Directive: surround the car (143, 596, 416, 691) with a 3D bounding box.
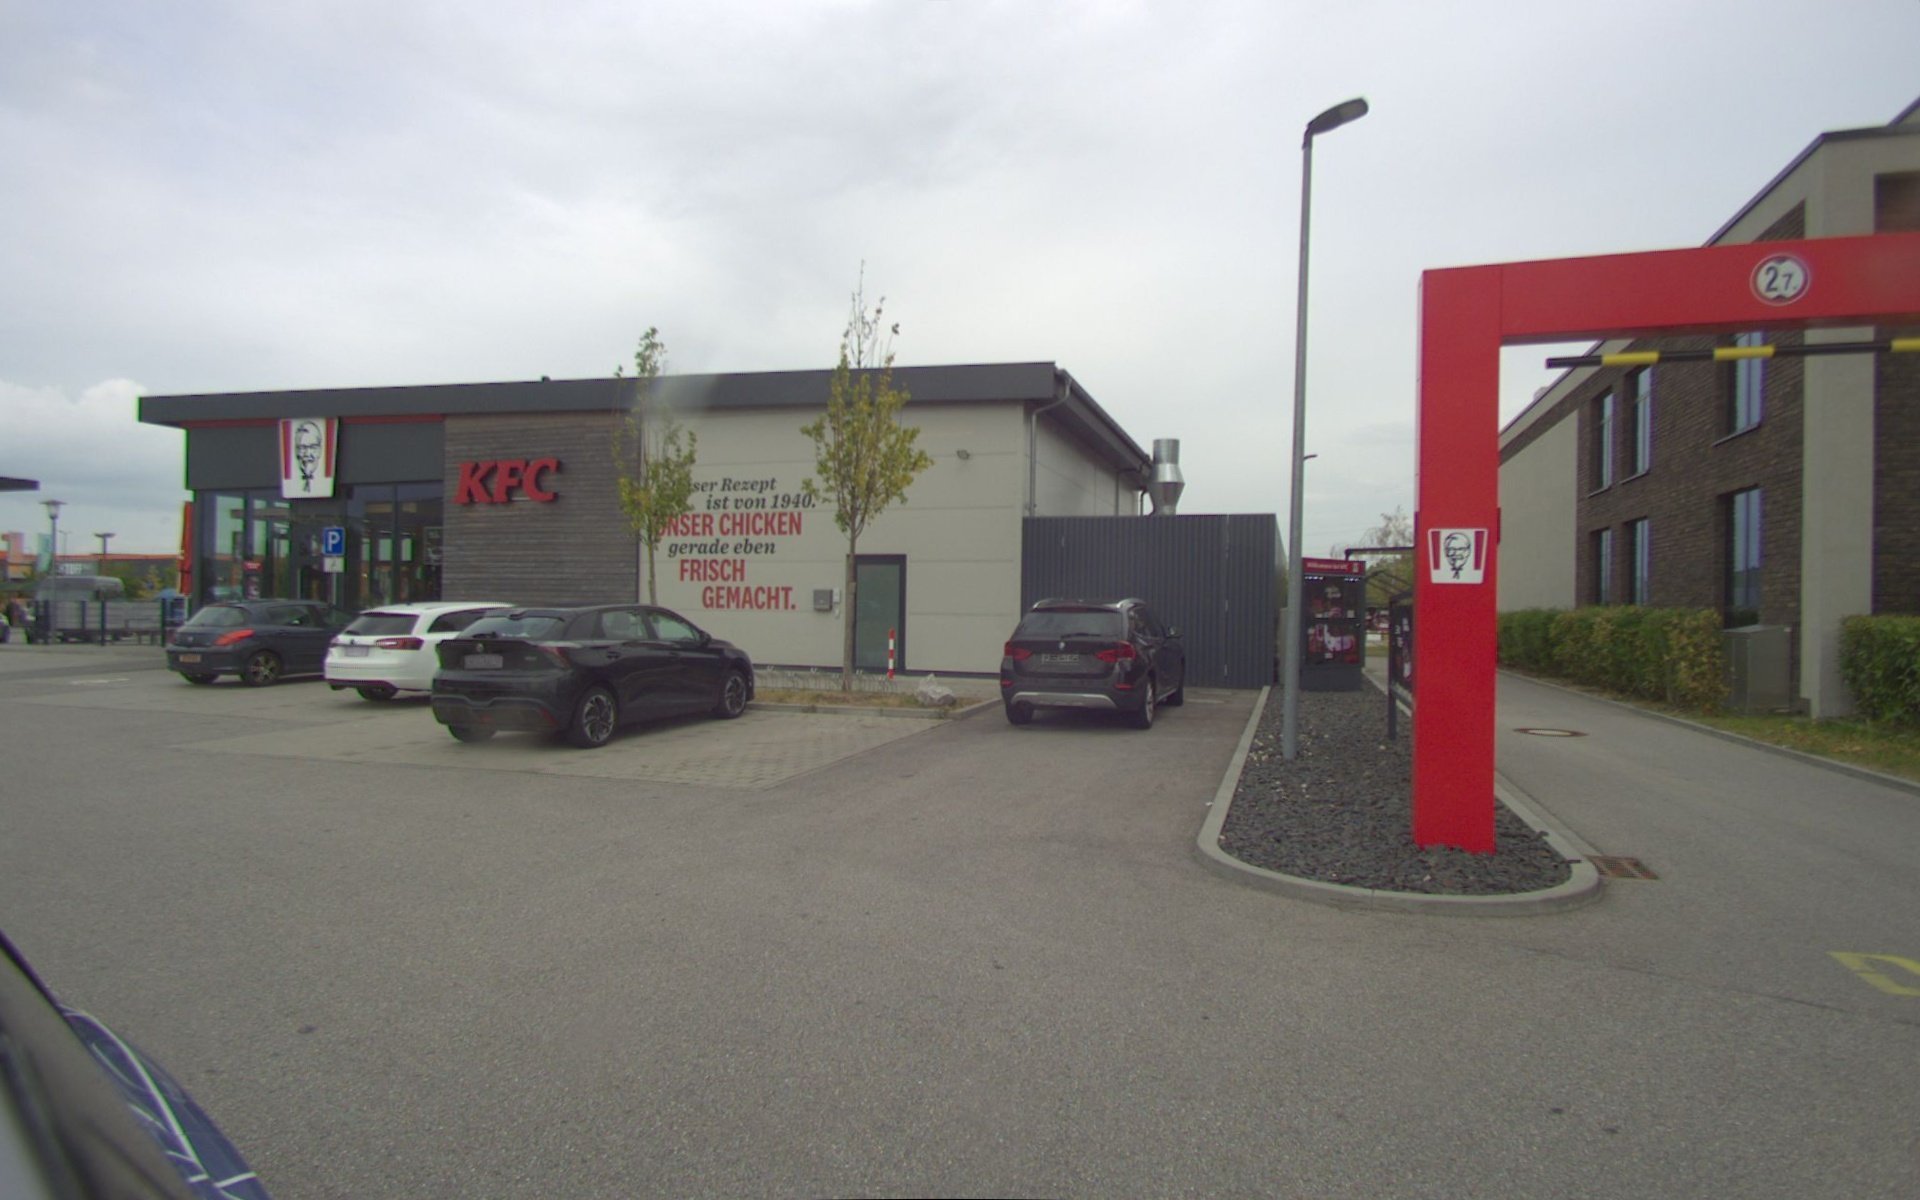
[{"bbox_3d":[-12.352,0.710,18.671,1.745,1.498,3.914,-1,1,20],"label":"car"}]

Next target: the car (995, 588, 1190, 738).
[{"bbox_3d":[1.864,0.687,13.098,1.723,1.608,3.974,0,0,19],"label":"car"}]

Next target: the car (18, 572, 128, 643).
[{"bbox_3d":[-35.004,0.352,40.164,2.038,2.573,7.033,0,-1,-31],"label":"car"}]

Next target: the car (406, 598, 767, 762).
[{"bbox_3d":[-4.060,0.782,11.792,1.728,1.540,4.096,0,-1,19],"label":"car"}]

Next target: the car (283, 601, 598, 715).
[{"bbox_3d":[-7.874,0.801,15.819,1.985,1.497,4.151,1,-1,20],"label":"car"}]

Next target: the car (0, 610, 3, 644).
[{"bbox_3d":[-43.812,1.146,43.145,4.041,1.478,1.785,1,-3,-31],"label":"car"}]

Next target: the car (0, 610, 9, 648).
[{"bbox_3d":[-37.052,1.073,37.433,1.658,1.462,4.013,0,-1,-27],"label":"car"}]

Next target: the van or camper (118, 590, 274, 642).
[{"bbox_3d":[-41.714,0.848,55.473,6.459,2.721,2.179,-1,-1,-23],"label":"van or camper"}]
